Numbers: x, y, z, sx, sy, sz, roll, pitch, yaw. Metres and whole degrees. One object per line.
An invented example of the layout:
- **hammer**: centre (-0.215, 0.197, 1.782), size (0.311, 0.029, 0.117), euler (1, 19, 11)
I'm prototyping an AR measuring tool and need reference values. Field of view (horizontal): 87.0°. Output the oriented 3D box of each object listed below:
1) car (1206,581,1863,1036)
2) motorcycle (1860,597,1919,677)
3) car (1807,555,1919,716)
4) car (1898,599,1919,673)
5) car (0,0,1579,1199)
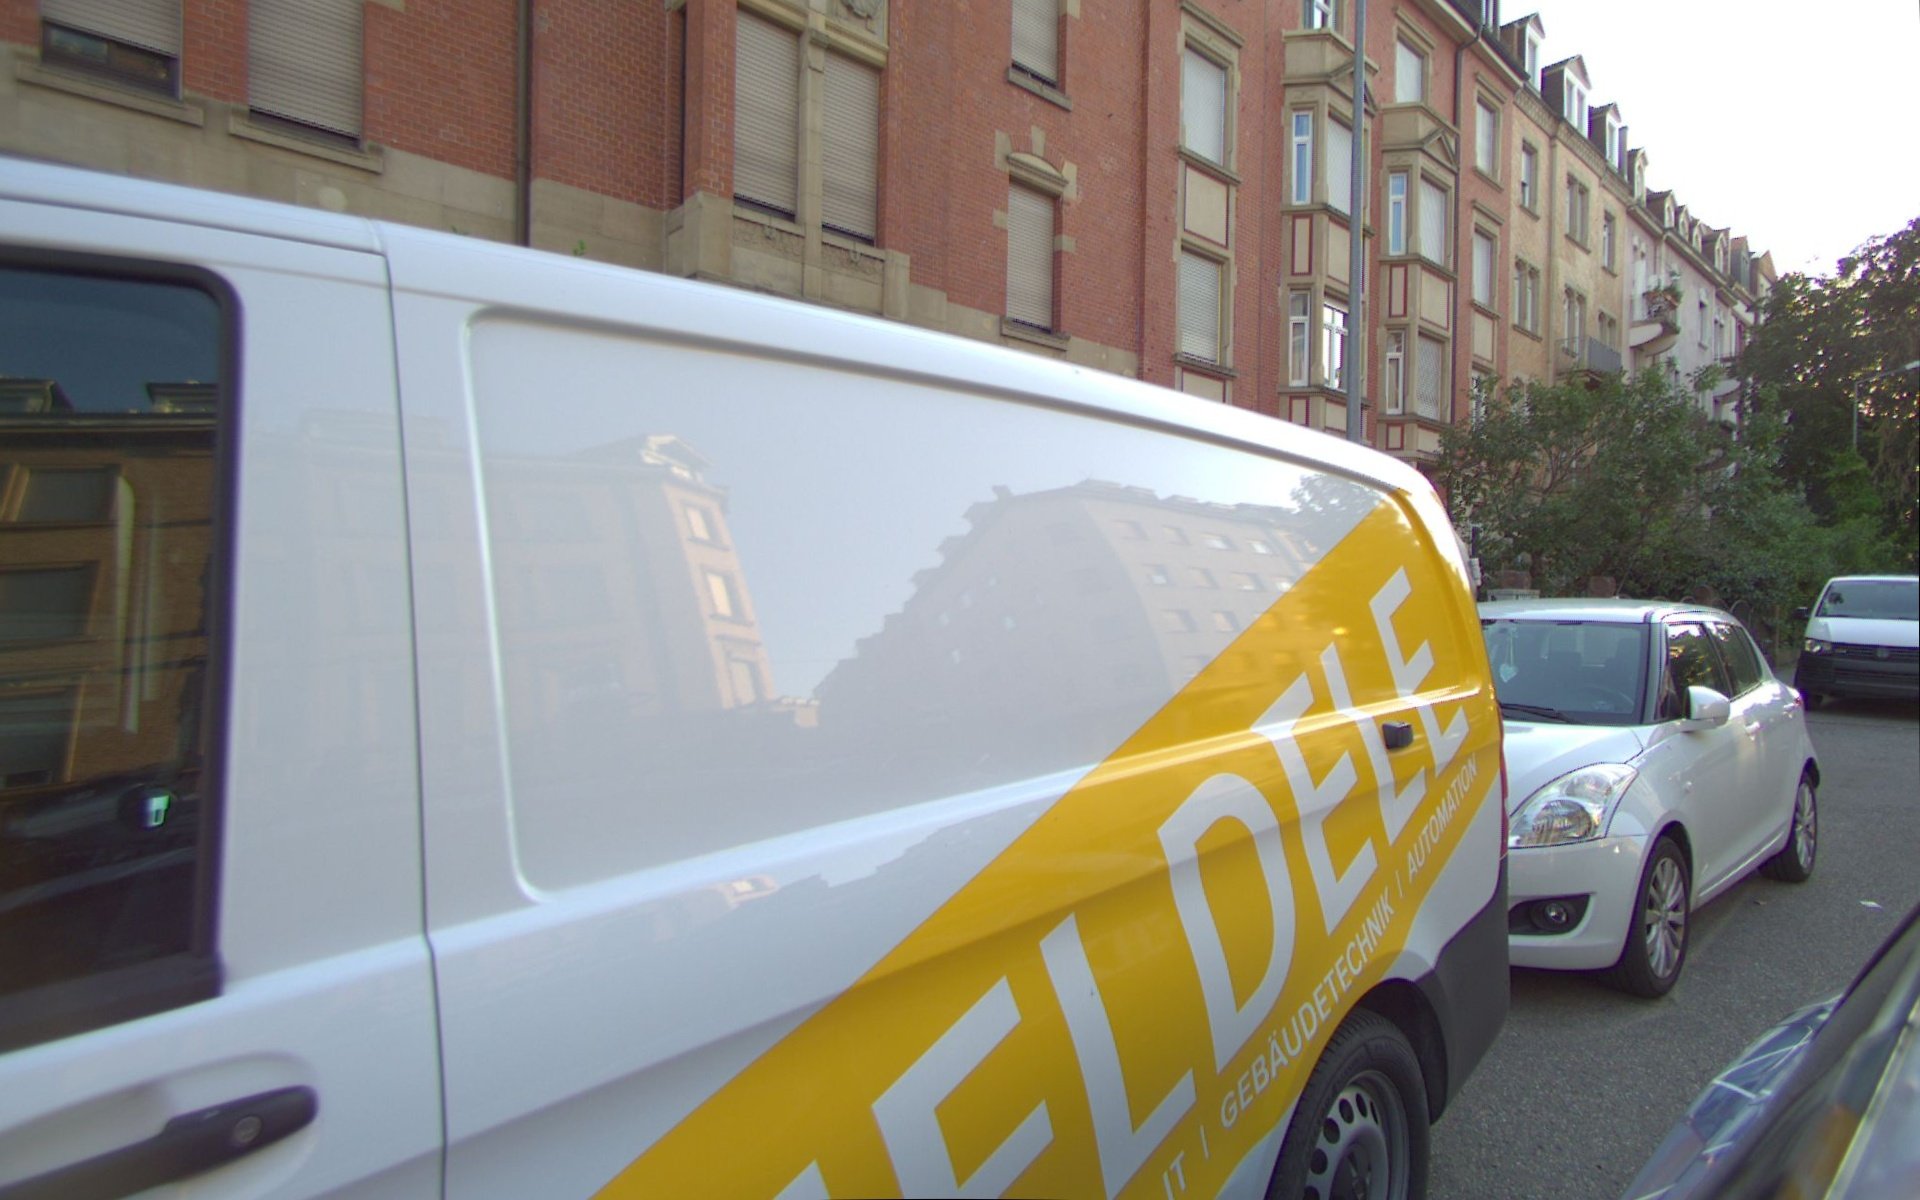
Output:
- **car**: centre (3.123, 0.680, 5.190), size (3.792, 1.496, 1.678), euler (0, 0, -39)
- **motorcycle**: centre (19.265, 0.743, 19.837), size (2.065, 1.500, 1.128), euler (2, 2, 16)
- **car**: centre (14.305, 0.464, 15.073), size (5.451, 2.064, 1.864), euler (0, 3, -43)
- **car**: centre (22.317, 0.774, 22.419), size (4.248, 1.570, 1.723), euler (0, 0, -40)
- **car**: centre (-0.907, 0.475, 1.597), size (4.995, 1.907, 1.896), euler (0, 0, -42)
